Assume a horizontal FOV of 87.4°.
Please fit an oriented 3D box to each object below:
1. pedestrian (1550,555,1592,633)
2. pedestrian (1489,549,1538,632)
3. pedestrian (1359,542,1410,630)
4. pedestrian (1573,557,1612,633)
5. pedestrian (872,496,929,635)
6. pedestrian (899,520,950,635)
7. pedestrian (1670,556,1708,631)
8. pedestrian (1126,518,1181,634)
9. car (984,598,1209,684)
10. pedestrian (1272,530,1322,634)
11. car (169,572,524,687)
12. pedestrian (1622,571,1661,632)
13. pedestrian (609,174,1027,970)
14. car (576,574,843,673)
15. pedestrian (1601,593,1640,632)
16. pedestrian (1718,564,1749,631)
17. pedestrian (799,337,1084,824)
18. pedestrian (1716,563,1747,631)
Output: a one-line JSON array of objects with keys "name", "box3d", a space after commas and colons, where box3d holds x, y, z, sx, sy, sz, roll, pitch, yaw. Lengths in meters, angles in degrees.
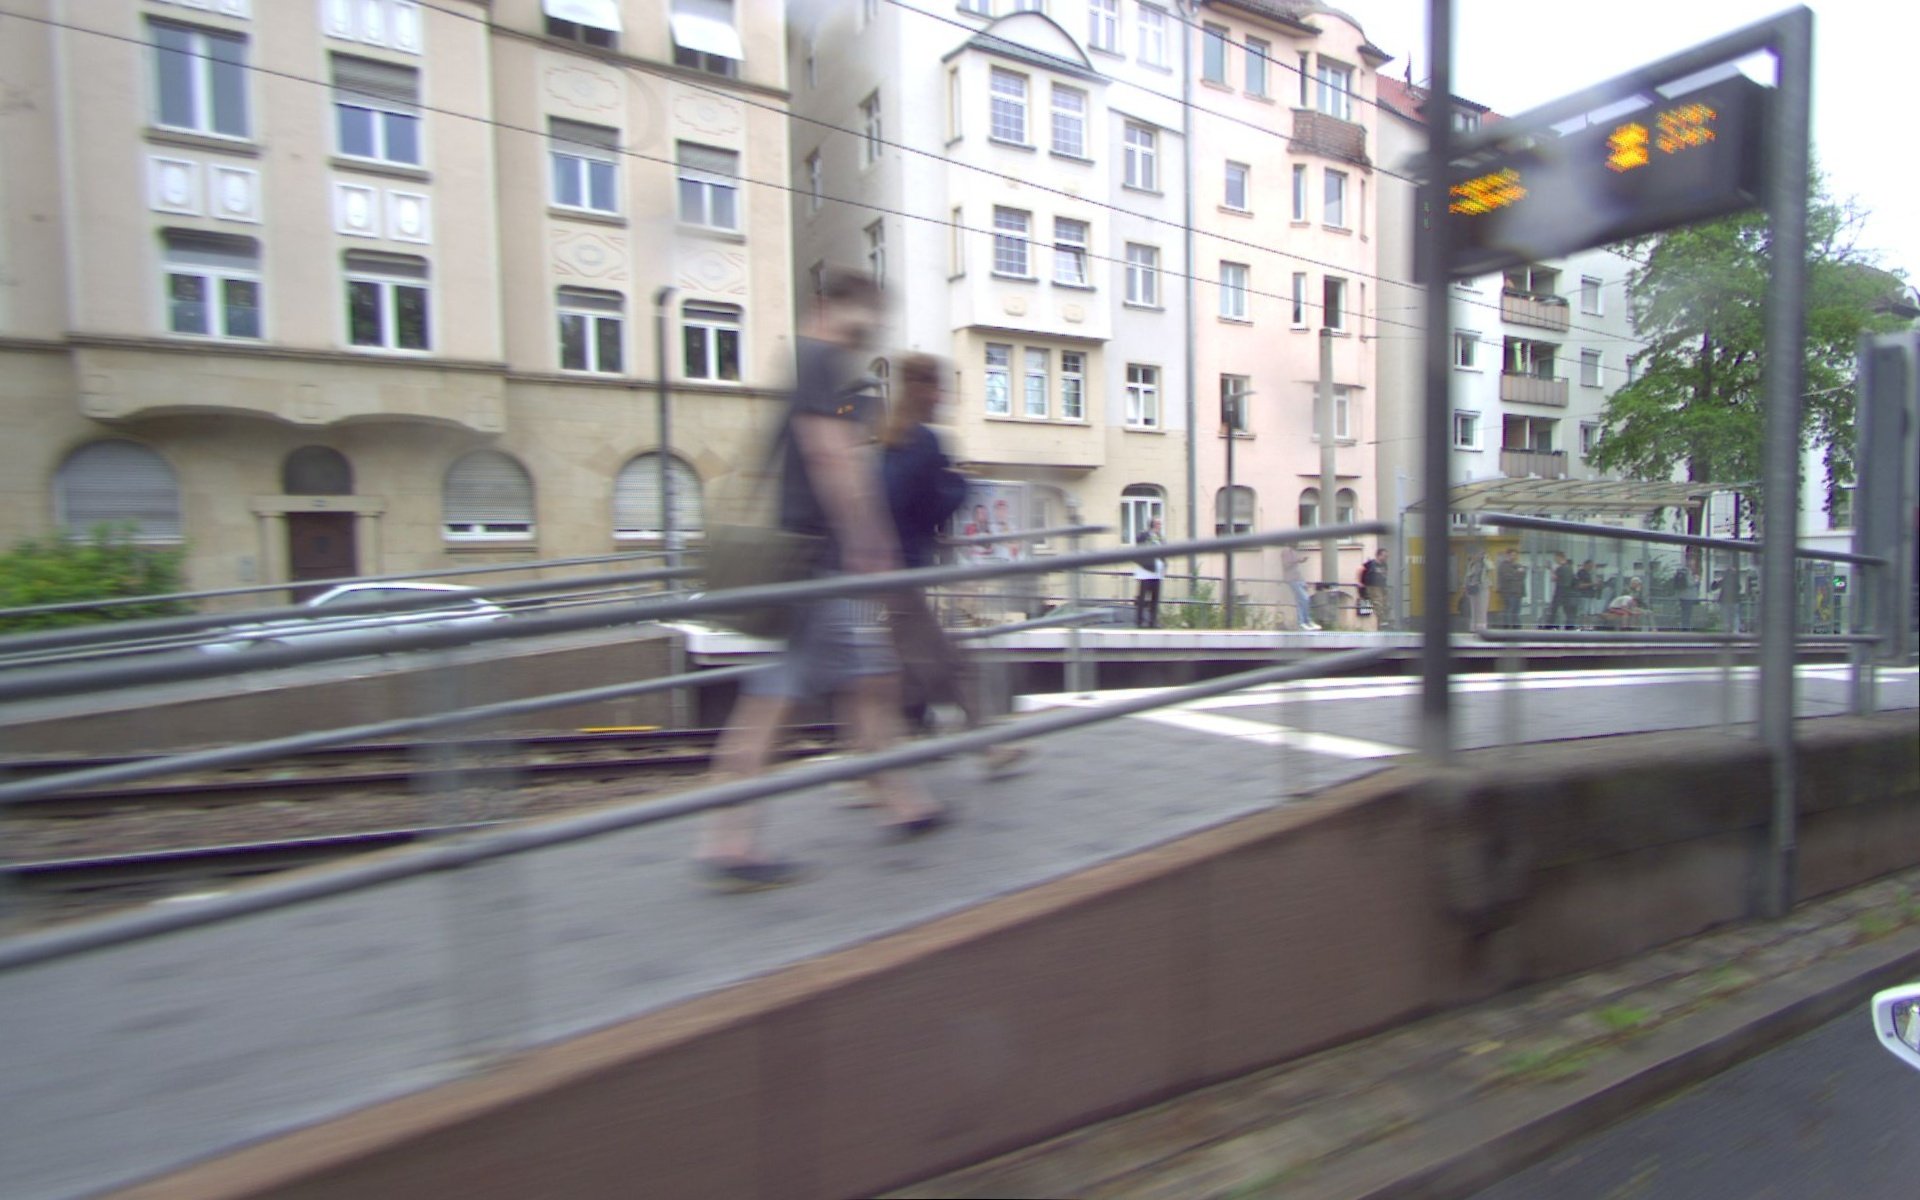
[{"name": "pedestrian", "box3d": [13.484, -0.126, 22.184, 0.584, 1.688, 0.591, 1, -1, -30]}, {"name": "pedestrian", "box3d": [11.526, -0.176, 20.932, 0.753, 1.688, 0.591, 1, -1, -31]}, {"name": "pedestrian", "box3d": [8.331, -0.251, 19.706, 0.753, 1.688, 0.591, 1, -1, -31]}, {"name": "pedestrian", "box3d": [14.387, -0.101, 22.850, 0.607, 1.688, 0.547, 1, -1, -31]}, {"name": "pedestrian", "box3d": [-0.822, -0.452, 13.908, 0.592, 1.874, 0.558, 1, -1, -31]}, {"name": "pedestrian", "box3d": [-0.512, -0.310, 14.511, 0.556, 1.626, 0.513, 1, -1, -31]}, {"name": "pedestrian", "box3d": [17.462, -0.153, 24.055, 0.607, 1.764, 0.547, 1, -1, -31]}, {"name": "pedestrian", "box3d": [3.198, -0.380, 16.585, 0.753, 1.862, 0.513, 1, -1, -31]}, {"name": "car", "box3d": [3.095, 0.926, 22.571, 4.754, 1.755, 1.986, 2, -1, -28]}, {"name": "pedestrian", "box3d": [6.178, -0.307, 18.422, 0.753, 1.862, 0.513, 1, -1, -31]}, {"name": "car", "box3d": [-9.449, 0.471, 15.874, 4.479, 1.553, 1.984, 2, 2, -30]}, {"name": "pedestrian", "box3d": [16.164, 0.047, 23.831, 0.607, 1.432, 0.547, 1, -1, -31]}, {"name": "pedestrian", "box3d": [-0.395, -0.082, 2.769, 0.837, 1.808, 0.647, -6, 4, -30]}, {"name": "car", "box3d": [-4.605, 0.427, 18.615, 4.480, 1.644, 1.915, 1, -1, -29]}, {"name": "pedestrian", "box3d": [15.385, 0.303, 23.397, 0.607, 0.883, 0.547, 1, -1, -31]}, {"name": "pedestrian", "box3d": [20.571, -0.056, 26.715, 0.557, 1.764, 0.480, 1, -1, -31]}, {"name": "pedestrian", "box3d": [-0.075, -0.095, 3.695, 0.675, 1.583, 0.647, -8, 5, -30]}, {"name": "pedestrian", "box3d": [20.162, -0.072, 26.256, 0.557, 1.764, 0.480, 1, -1, -31]}]
